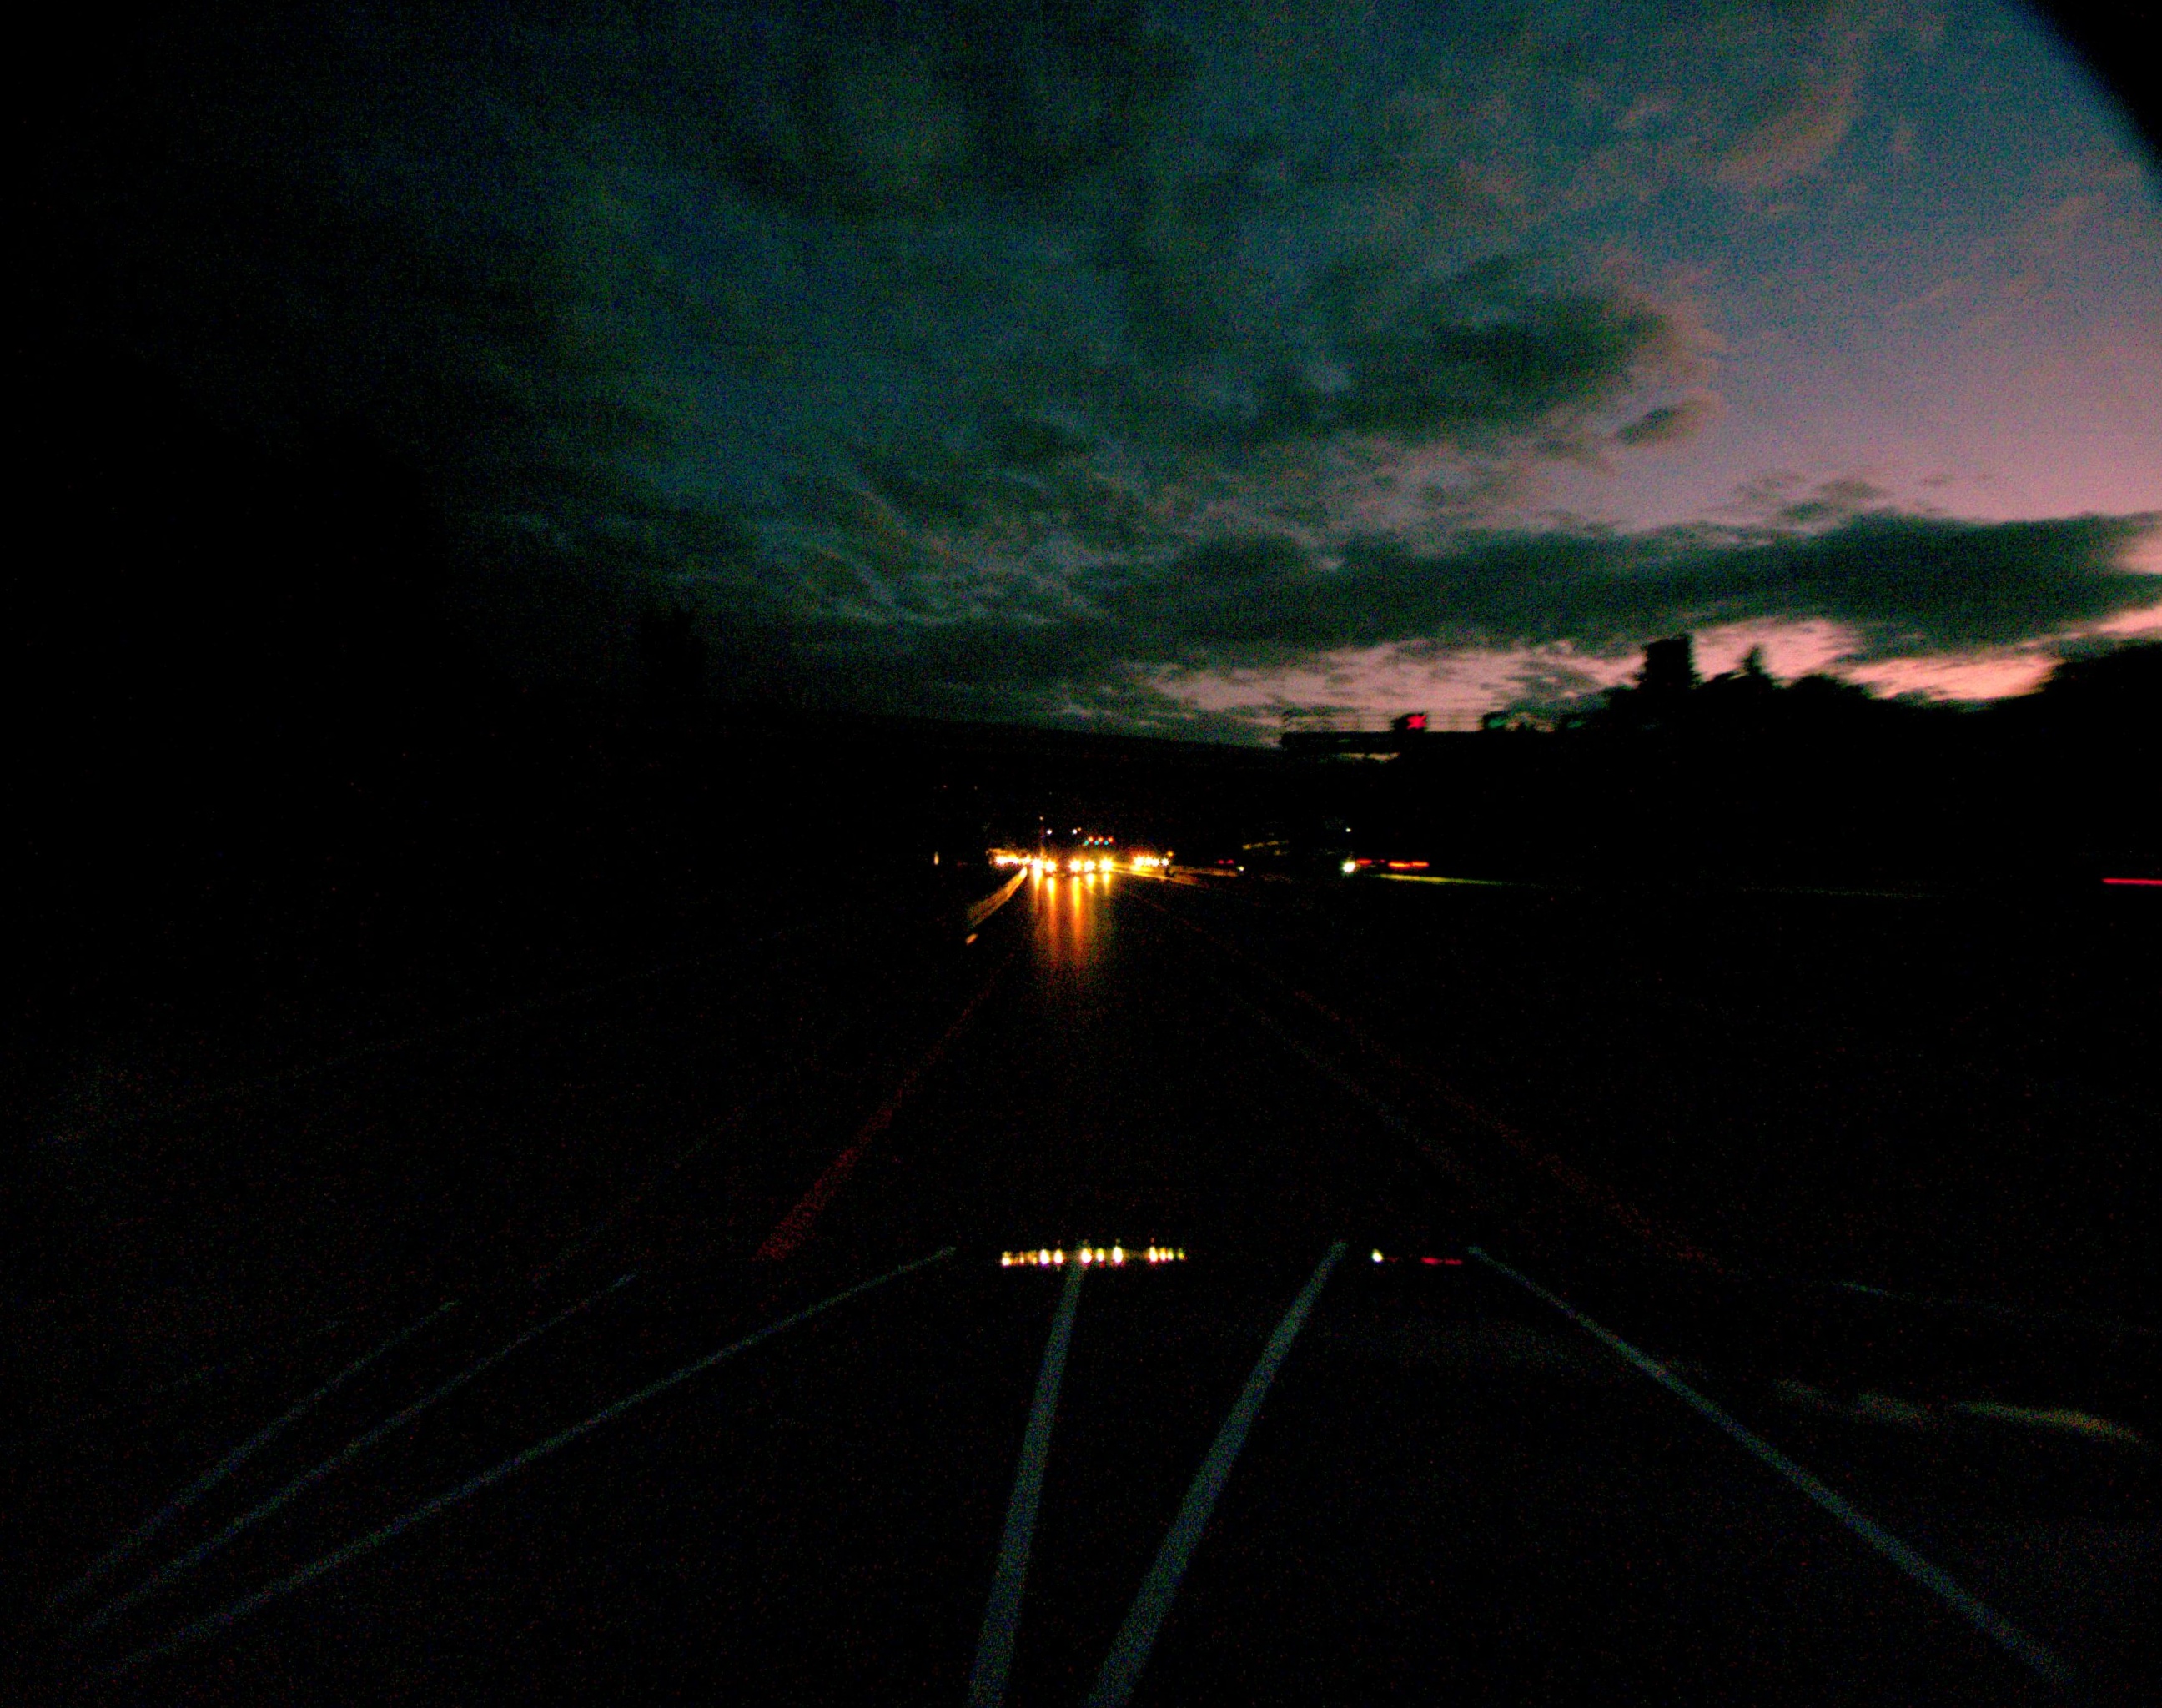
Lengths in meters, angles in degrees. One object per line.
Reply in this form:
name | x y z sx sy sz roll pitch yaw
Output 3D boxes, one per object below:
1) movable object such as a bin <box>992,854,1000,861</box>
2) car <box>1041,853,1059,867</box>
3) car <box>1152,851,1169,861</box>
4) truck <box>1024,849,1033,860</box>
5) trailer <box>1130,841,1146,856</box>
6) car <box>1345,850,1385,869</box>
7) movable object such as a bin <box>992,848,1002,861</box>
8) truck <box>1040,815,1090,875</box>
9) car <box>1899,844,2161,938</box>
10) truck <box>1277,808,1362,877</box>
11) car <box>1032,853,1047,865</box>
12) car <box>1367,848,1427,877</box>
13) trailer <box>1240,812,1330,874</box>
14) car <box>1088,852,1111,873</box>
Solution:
movable object such as a bin | -21.821 0.850 196.068 2.000 1.592 4.082 0 1 -6
car | -3.804 0.670 91.721 1.926 1.606 3.998 -1 0 -5
car | 11.966 0.293 114.086 1.792 1.472 3.998 -3 1 -5
truck | -14.352 0.009 208.120 1.998 2.817 6.295 -3 1 0
trailer | 15.923 -1.541 213.727 2.786 4.181 12.397 -3 1 -2
car | 23.420 0.416 62.725 1.707 1.447 3.929 -3 1 -2
movable object such as a bin | -21.150 0.130 191.147 2.629 3.090 5.802 -1 0 -7
truck | -1.469 -0.705 60.867 2.955 4.241 11.045 -3 1 -6
car | 20.927 0.664 16.142 1.835 1.651 4.840 -3 1 0
truck | 14.339 -0.682 46.154 2.810 3.753 6.300 -3 1 -2
car | -5.726 0.624 104.878 1.926 1.606 3.998 -1 0 -5
car | 20.520 0.512 49.619 1.835 1.651 4.840 -3 1 0
trailer | 14.098 -0.757 53.894 2.806 3.761 11.832 -3 1 -1
car | 1.550 0.709 64.749 1.663 1.586 3.995 -3 1 -1
